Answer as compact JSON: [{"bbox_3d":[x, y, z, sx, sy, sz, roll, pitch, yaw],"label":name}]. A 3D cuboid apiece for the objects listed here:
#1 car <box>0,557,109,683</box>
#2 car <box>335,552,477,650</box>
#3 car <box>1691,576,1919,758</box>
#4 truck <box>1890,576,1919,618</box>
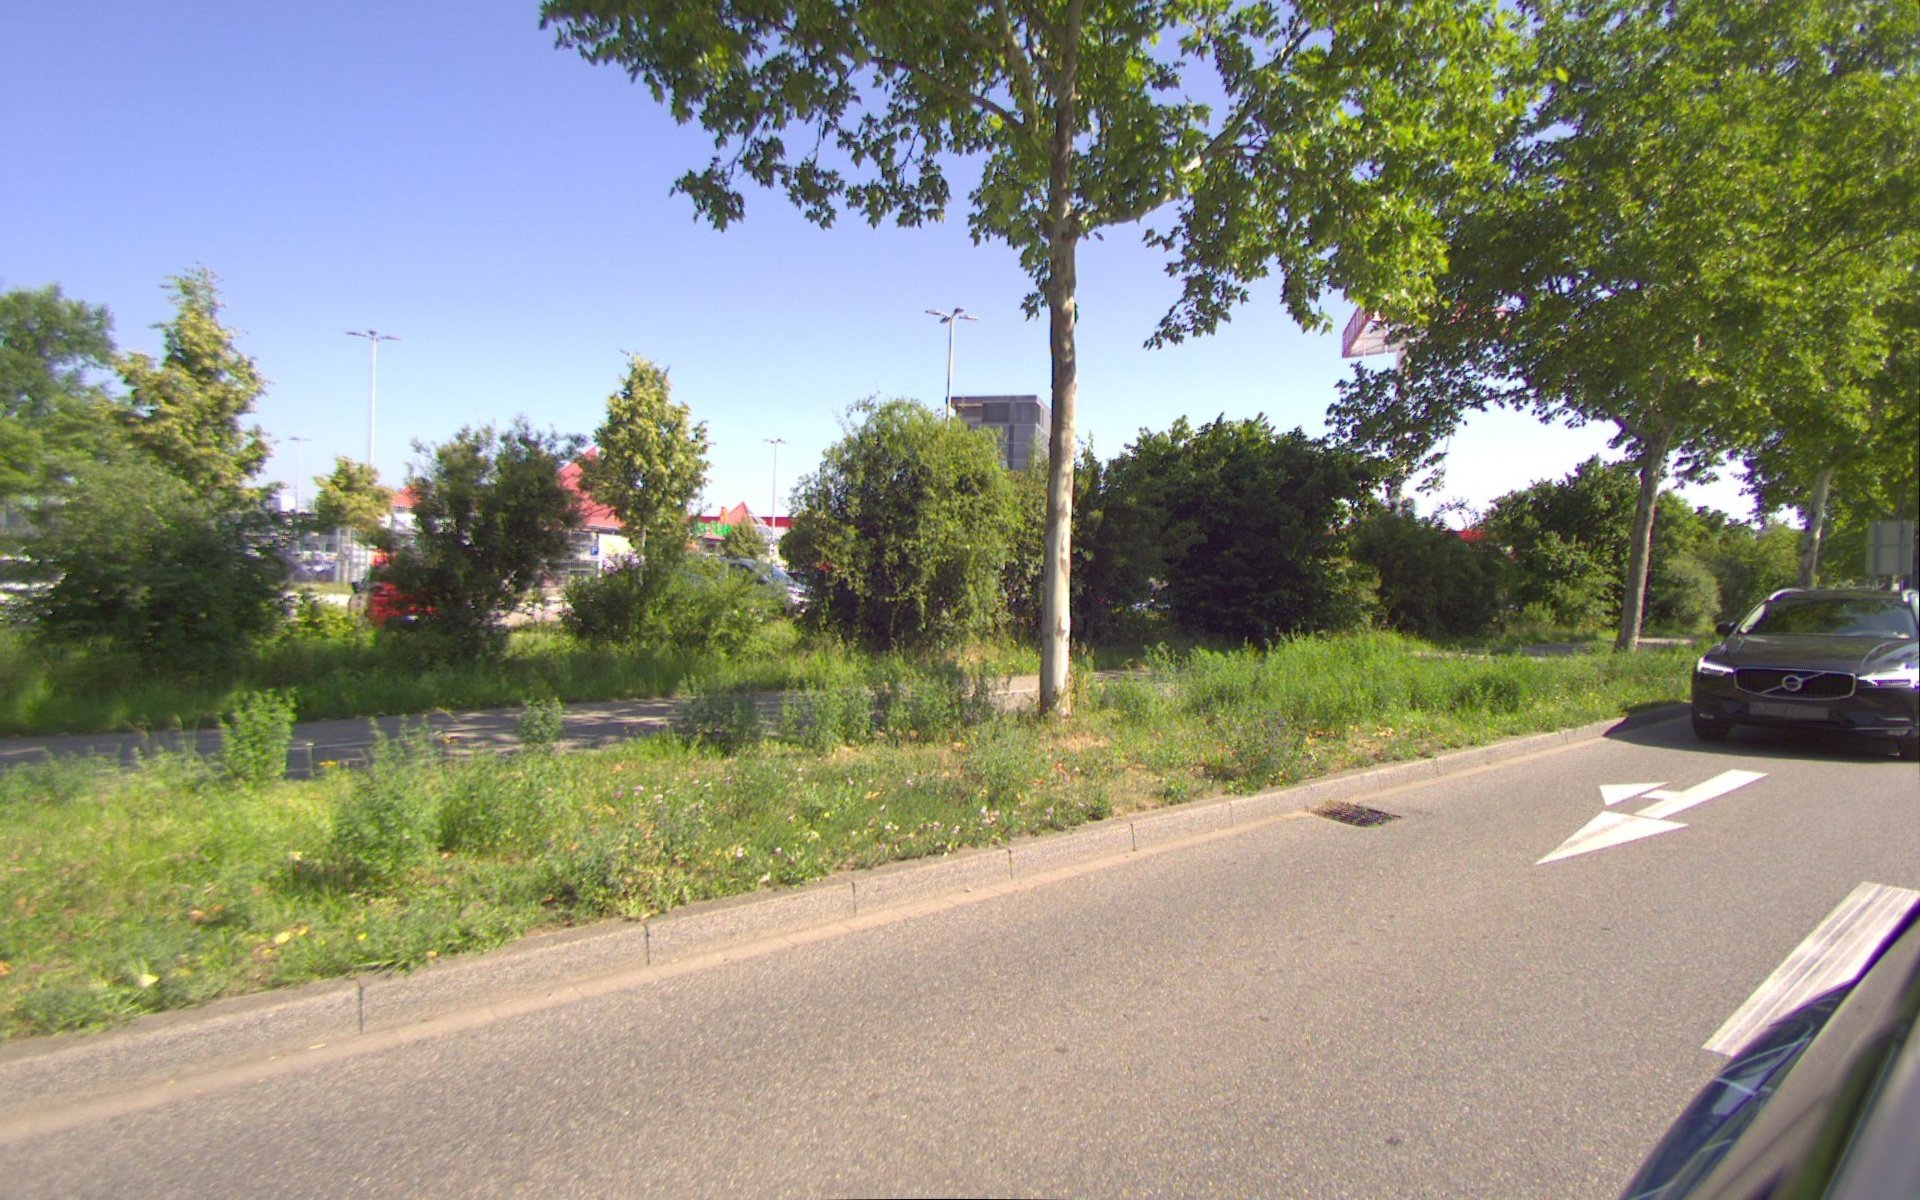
[{"bbox_3d":[-14.847,0.256,16.000,3.987,1.794,1.725,1,1,44],"label":"car"},{"bbox_3d":[-10.776,-0.014,19.572,1.658,1.691,3.828,0,1,-41],"label":"car"},{"bbox_3d":[9.822,0.584,11.168,4.486,1.643,1.922,0,1,-42],"label":"car"},{"bbox_3d":[90.616,-0.311,96.169,2.728,3.944,5.773,1,1,37],"label":"truck"}]
